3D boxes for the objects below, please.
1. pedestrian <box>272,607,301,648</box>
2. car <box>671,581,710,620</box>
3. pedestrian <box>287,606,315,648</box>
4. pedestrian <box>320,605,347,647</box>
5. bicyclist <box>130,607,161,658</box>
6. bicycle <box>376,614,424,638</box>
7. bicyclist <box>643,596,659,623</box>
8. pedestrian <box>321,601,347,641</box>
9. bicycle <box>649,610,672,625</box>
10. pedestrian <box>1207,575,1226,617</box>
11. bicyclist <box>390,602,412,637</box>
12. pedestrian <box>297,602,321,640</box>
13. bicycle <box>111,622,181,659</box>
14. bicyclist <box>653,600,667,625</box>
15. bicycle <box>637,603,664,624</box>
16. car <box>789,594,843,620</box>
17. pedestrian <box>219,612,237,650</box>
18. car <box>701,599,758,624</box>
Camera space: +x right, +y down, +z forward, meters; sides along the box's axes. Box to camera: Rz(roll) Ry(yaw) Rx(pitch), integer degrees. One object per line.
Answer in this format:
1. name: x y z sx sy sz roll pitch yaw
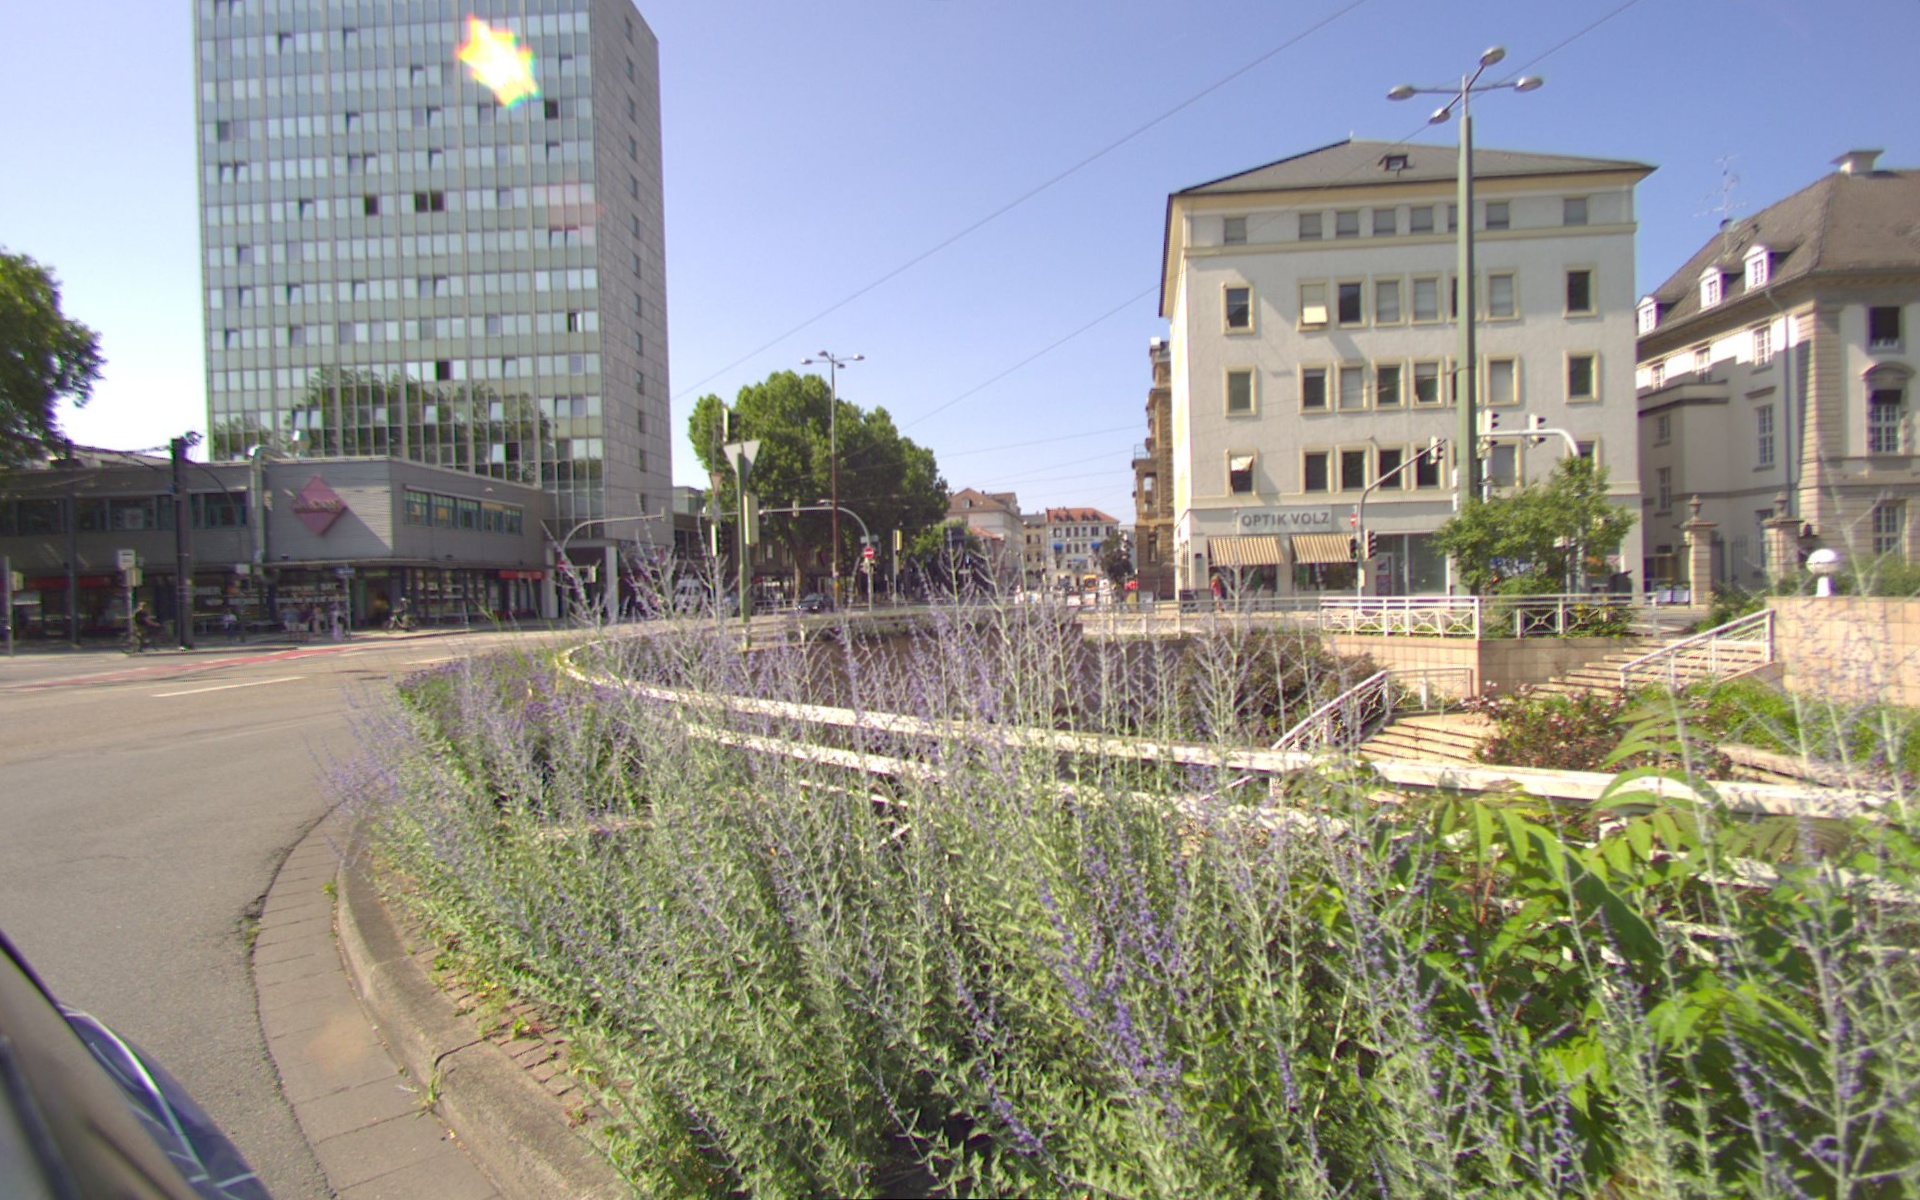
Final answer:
1. pedestrian: -30.250 1.228 45.463 0.725 1.850 0.823 -1 0 3
2. car: -21.369 0.029 80.385 1.724 2.938 4.634 -2 0 1
3. pedestrian: -29.464 1.205 45.265 0.662 1.850 0.823 -1 0 3
4. pedestrian: -28.522 1.181 46.082 0.662 1.850 0.823 -1 0 2
5. bicyclist: -27.858 1.091 34.632 0.519 1.719 0.677 -1 0 31
6. bicycle: -27.131 1.255 49.051 0.575 1.110 1.947 -2 1 33
7. bicyclist: -20.366 0.633 66.678 0.692 1.781 0.679 0 1 21
8. pedestrian: -29.598 0.999 47.831 0.669 1.850 0.814 -1 0 34
9. bicycle: -19.185 1.130 64.895 0.587 0.889 1.802 0 1 14
10. pedestrian: 11.072 -0.164 43.684 0.633 1.772 0.594 -1 0 4
11. bicyclist: -27.115 0.949 49.089 0.582 1.700 0.676 -2 0 34
12. pedestrian: -31.235 1.000 48.571 0.671 1.820 0.812 -1 0 42
13. bicycle: -27.842 1.373 34.645 0.519 1.175 1.797 -1 0 31
14. bicyclist: -19.208 0.796 64.861 0.577 1.538 0.681 0 1 14
15. bicycle: -20.372 0.866 66.632 0.711 1.309 1.927 0 1 20
16. car: -9.113 0.426 64.306 1.866 1.545 4.057 -2 1 17
17. pedestrian: -32.952 1.392 45.588 0.589 1.650 0.567 -1 0 -31
18. car: -15.203 0.727 66.944 1.866 1.471 4.142 -2 1 17
